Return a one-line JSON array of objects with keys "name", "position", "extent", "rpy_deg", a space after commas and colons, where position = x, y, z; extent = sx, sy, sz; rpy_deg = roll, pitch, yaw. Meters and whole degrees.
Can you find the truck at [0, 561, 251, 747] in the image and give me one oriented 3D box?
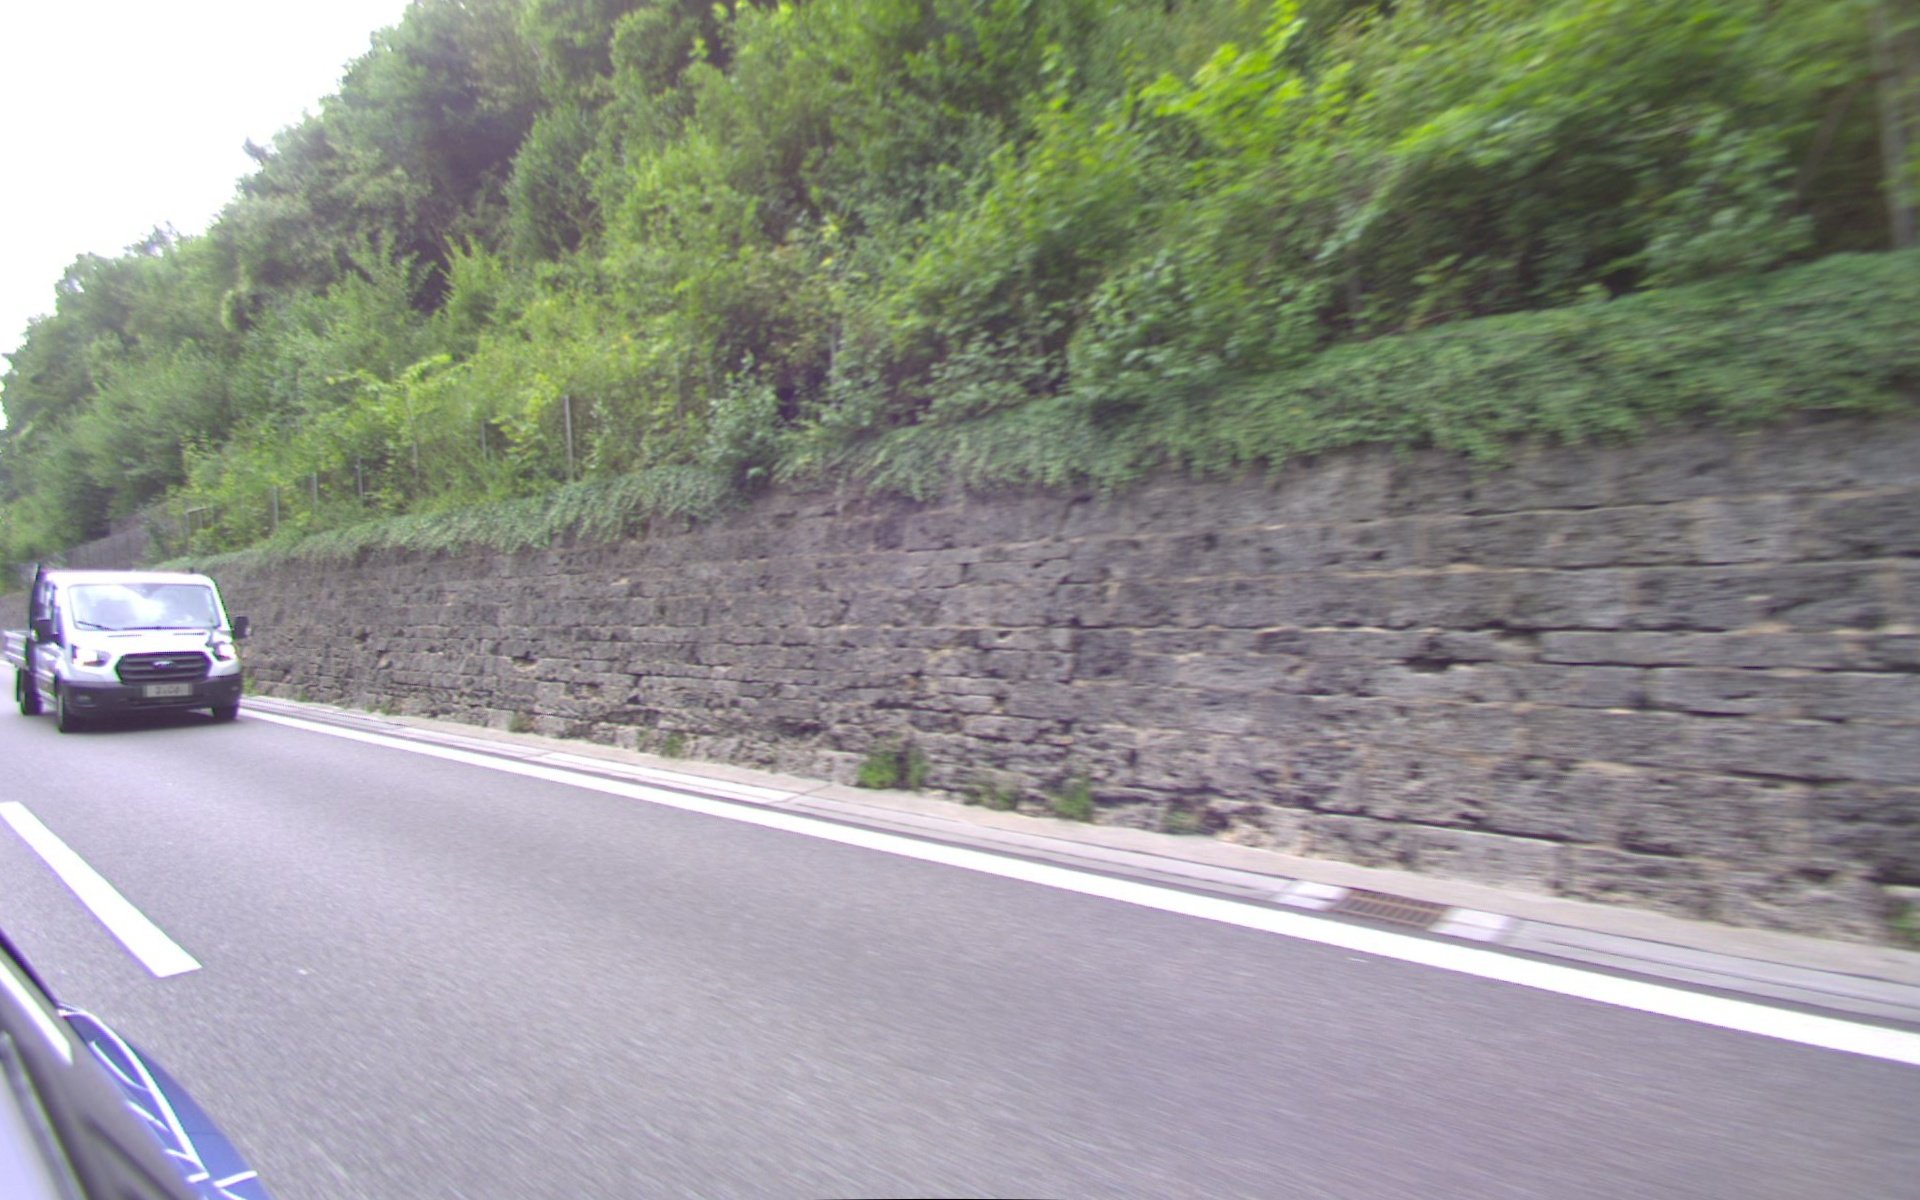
[{"name": "truck", "position": [-12.958, 0.728, 15.438], "extent": [6.582, 2.297, 1.973], "rpy_deg": [-2, 0, 41]}]
